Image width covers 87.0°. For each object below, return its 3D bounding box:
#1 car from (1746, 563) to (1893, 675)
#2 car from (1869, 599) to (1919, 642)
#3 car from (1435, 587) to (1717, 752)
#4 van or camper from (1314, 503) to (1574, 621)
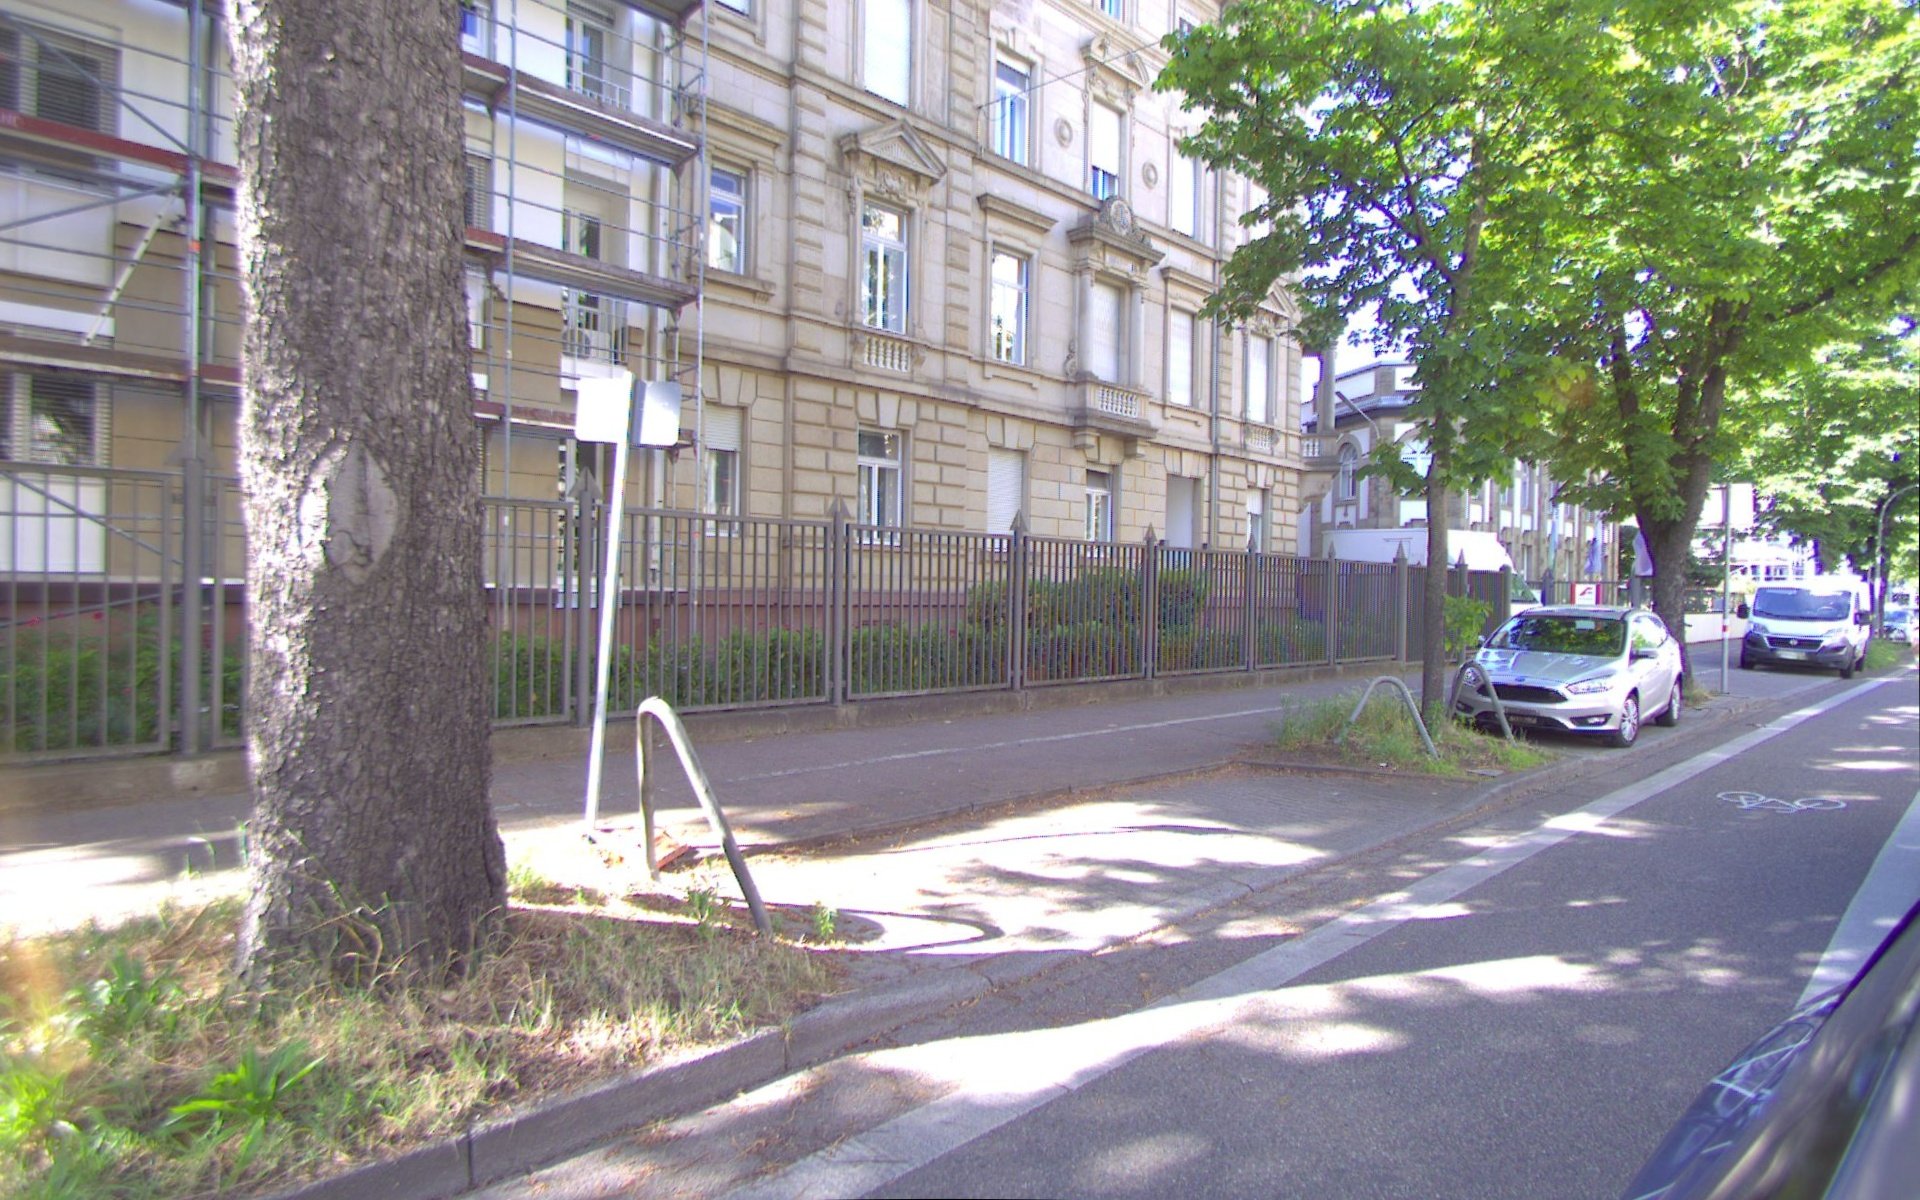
[{"bbox_3d":[20.973,0.353,24.595,5.710,2.371,2.129,-1,3,-44],"label":"car"},{"bbox_3d":[37.430,0.778,40.079,4.035,1.569,1.863,-1,1,-44],"label":"car"},{"bbox_3d":[7.578,0.667,12.266,4.294,1.562,1.874,-1,3,-44],"label":"car"},{"bbox_3d":[12.246,-0.888,26.374,2.078,2.660,6.751,0,0,-17],"label":"van or camper"}]
